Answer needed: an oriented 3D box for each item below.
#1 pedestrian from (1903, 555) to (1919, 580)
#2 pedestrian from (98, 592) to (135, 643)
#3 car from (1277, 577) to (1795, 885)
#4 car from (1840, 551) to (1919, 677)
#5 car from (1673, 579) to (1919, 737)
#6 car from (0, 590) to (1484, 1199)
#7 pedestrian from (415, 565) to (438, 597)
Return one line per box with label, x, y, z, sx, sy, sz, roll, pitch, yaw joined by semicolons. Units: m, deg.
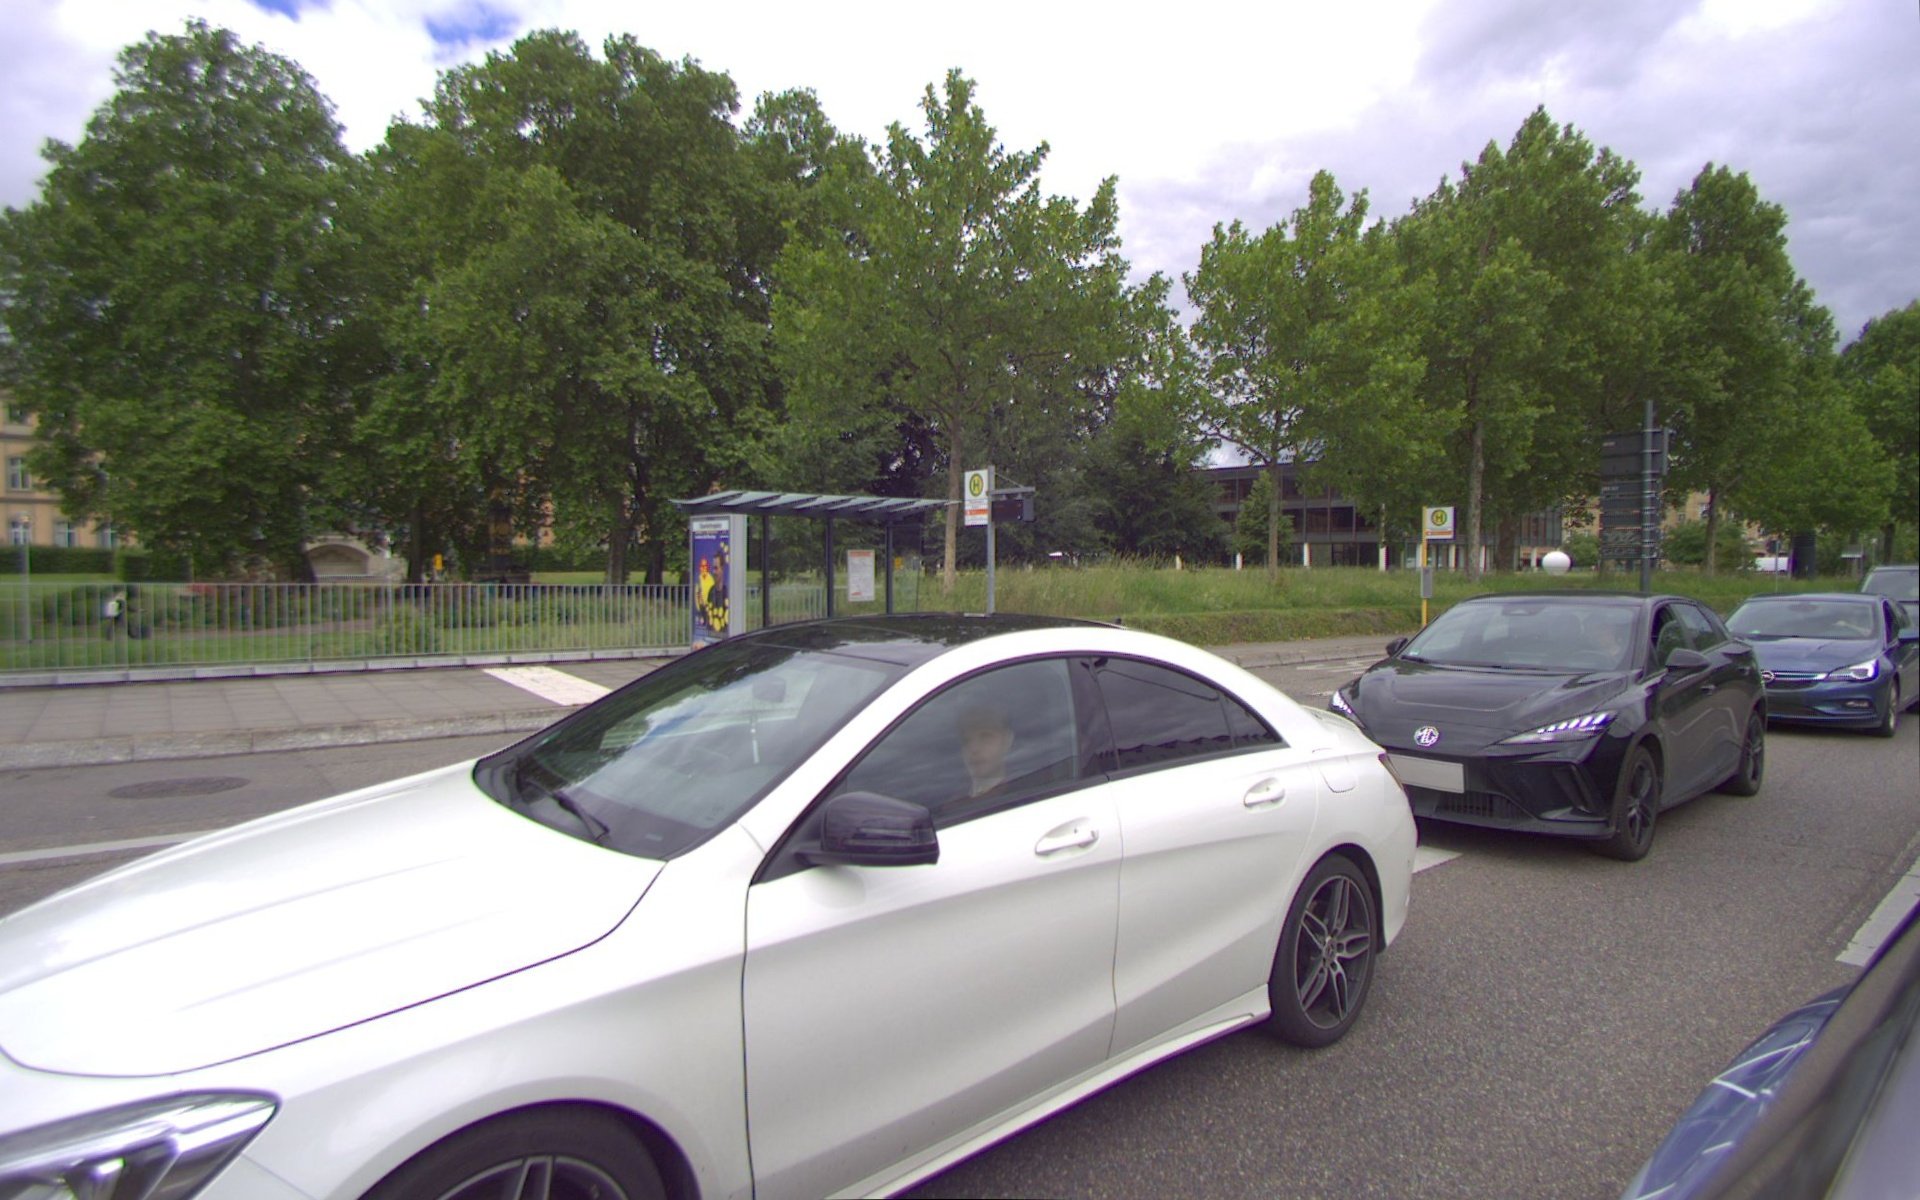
pedestrian;79.375;-2.733;84.402;1.160;2.039;0.891;-2;0;-40
pedestrian;-27.630;0.564;33.148;0.674;1.621;0.654;-1;0;18
car;4.147;0.607;7.038;4.020;1.508;1.852;-1;2;-40
car;15.996;0.162;16.307;4.719;1.856;2.020;-1;2;-40
car;9.788;0.509;11.490;3.944;1.452;1.804;-1;2;-40
car;-0.254;0.726;3.211;4.446;1.437;1.799;-1;2;-39
pedestrian;-35.050;-1.239;66.474;1.083;2.039;0.944;-2;0;-10
